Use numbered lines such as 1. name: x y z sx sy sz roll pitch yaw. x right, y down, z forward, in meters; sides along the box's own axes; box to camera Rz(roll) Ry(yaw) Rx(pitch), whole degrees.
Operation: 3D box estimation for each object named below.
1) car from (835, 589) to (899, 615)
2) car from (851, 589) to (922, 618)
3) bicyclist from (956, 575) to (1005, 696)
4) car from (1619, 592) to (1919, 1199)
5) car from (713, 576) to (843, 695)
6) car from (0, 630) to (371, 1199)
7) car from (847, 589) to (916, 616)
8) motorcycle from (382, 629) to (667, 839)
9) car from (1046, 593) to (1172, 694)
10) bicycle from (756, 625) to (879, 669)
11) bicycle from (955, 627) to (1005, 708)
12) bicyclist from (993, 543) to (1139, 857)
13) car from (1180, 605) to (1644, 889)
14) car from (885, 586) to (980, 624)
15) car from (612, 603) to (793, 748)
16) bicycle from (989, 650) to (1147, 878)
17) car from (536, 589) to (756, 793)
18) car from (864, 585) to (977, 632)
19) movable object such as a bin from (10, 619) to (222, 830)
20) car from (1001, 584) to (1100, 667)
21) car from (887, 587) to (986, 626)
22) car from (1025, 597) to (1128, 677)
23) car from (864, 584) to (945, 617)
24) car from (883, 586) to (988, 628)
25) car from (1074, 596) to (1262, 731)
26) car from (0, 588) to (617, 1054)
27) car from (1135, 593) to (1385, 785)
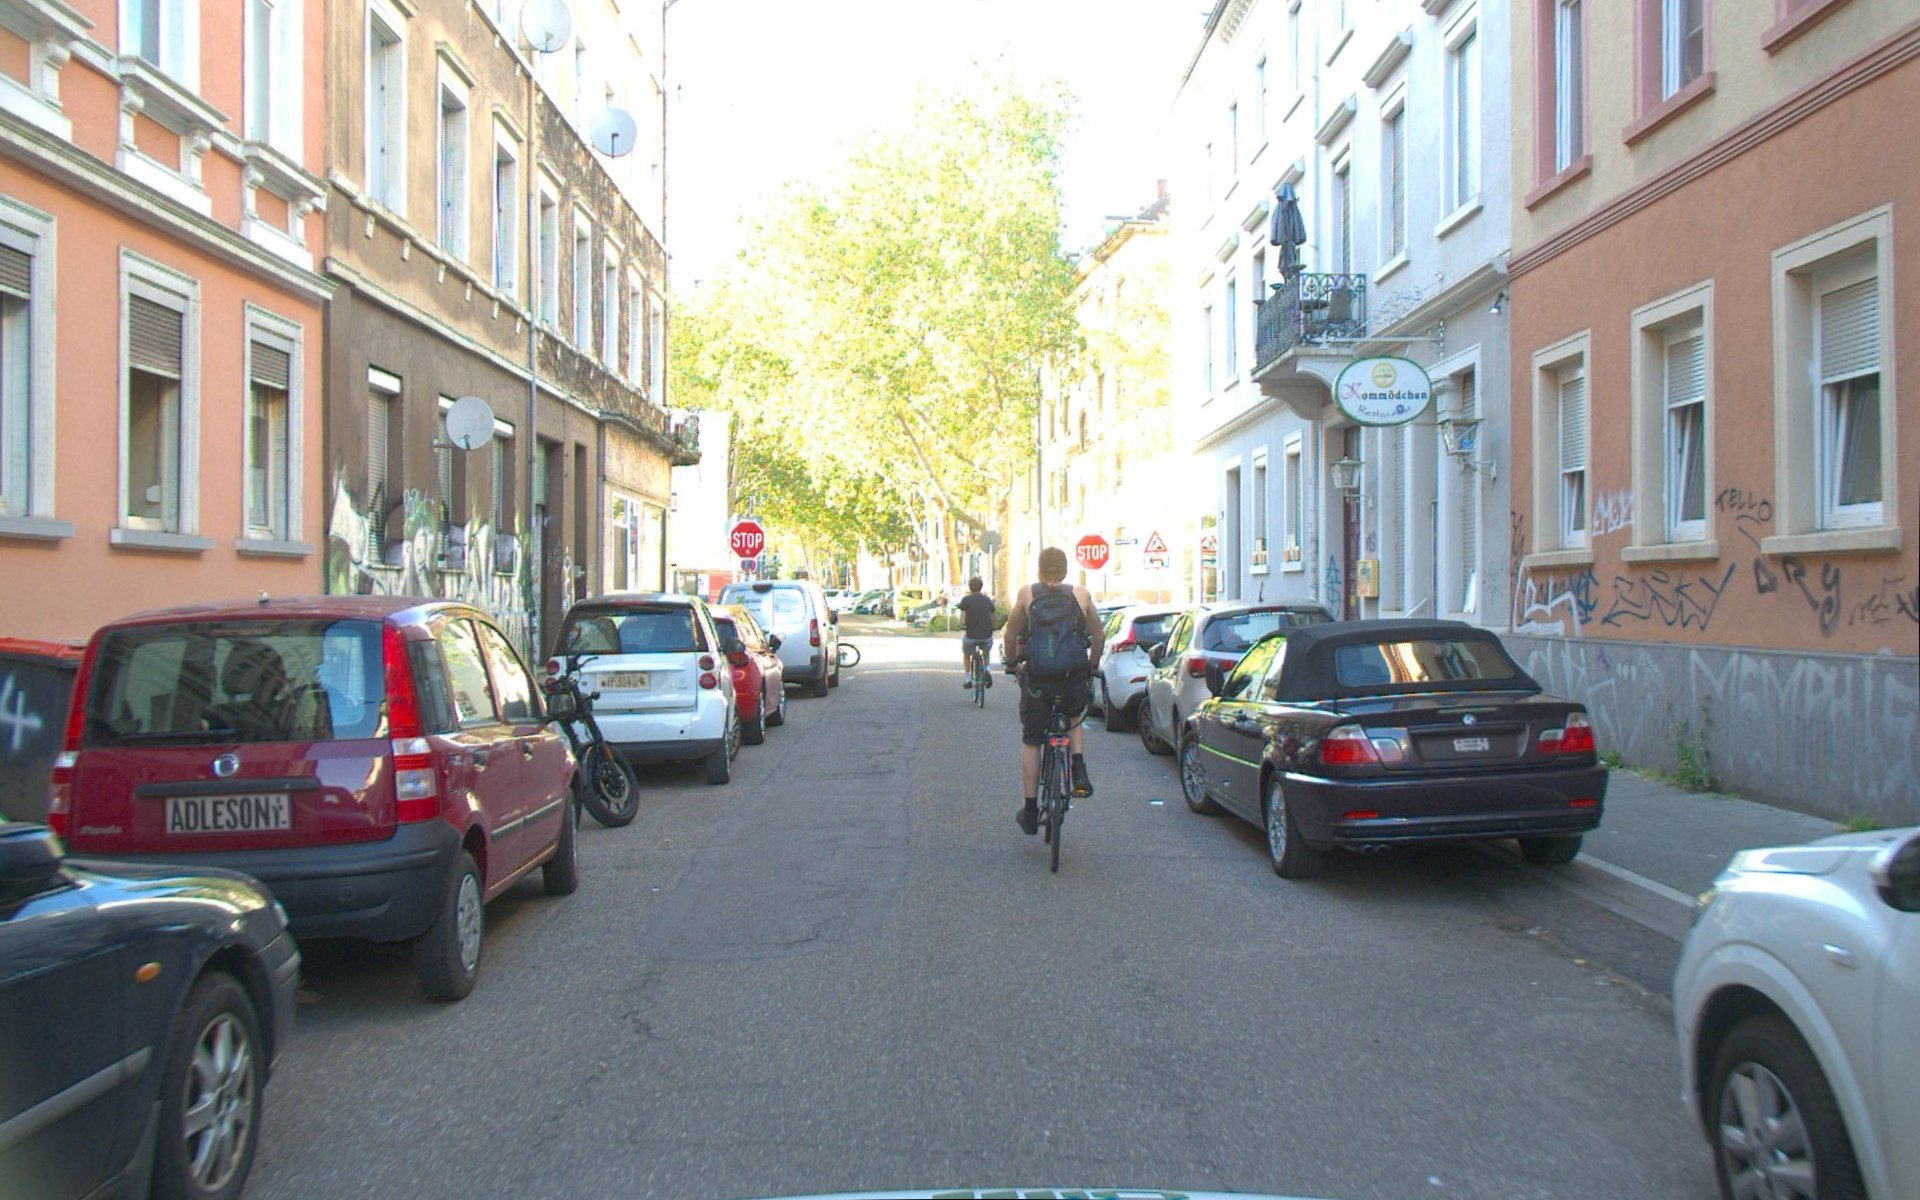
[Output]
1. car: -6.441 0.152 114.219 4.382 1.725 1.864 -1 0 -6
2. car: -4.642 0.222 104.259 4.382 1.725 1.864 -1 0 -6
3. bicyclist: 0.286 0.491 23.559 0.656 1.687 0.877 -1 0 -1
4. car: 2.753 0.733 2.506 1.697 1.496 4.018 -1 0 -4
5. car: -2.897 0.527 26.998 1.751 1.767 3.875 -1 0 -1
6. car: -2.484 0.827 2.533 1.671 1.438 4.301 -1 0 -1
7. car: -5.098 0.156 107.462 4.382 1.725 1.864 -1 0 -6
8. motorcycle: -2.883 0.860 11.044 1.766 1.278 0.707 -1 0 -15
9. car: 2.446 0.673 27.846 1.619 1.557 3.573 -1 0 -3
10. bicycle: -3.121 1.022 36.326 2.662 0.907 0.618 -1 0 -4
11. bicycle: 0.272 0.941 23.704 0.650 1.055 1.958 -1 0 -1
12. bicyclist: 0.592 0.549 9.629 0.725 1.708 1.116 1 0 -2
13. car: 2.542 0.740 10.303 1.624 1.361 3.998 -1 0 -3
14. car: -1.318 0.234 78.477 4.382 1.725 1.864 -1 0 -6
15. car: -2.791 0.765 18.562 1.521 1.424 3.666 -1 0 -1
16. bicycle: 0.586 0.895 9.720 0.725 1.120 2.041 1 0 -1
17. car: -2.688 0.710 14.799 1.514 1.578 3.462 -1 0 -4
18. car: -1.605 0.344 66.435 4.382 1.790 1.864 -1 0 -6
19. movable object such as a bin: -5.082 0.733 10.001 0.817 1.146 0.716 -5 0 1
20. car: 2.043 0.552 38.325 1.855 1.800 3.997 -1 0 -3
21. car: -1.101 0.292 76.003 4.382 1.725 1.864 -1 0 -6
22. car: 2.309 0.707 33.418 1.653 1.497 3.573 -1 0 -3
23. car: -3.083 0.029 91.303 4.382 1.725 1.864 -1 0 -6
24. car: -1.063 0.307 71.396 4.382 1.725 1.864 -1 0 -6
25. car: 2.496 0.708 20.739 1.676 1.496 3.998 -1 0 -3
26. car: -2.629 0.754 7.425 1.573 1.556 3.377 -2 0 -3
27. car: 2.627 0.707 15.284 1.560 1.518 3.875 -1 0 -1
